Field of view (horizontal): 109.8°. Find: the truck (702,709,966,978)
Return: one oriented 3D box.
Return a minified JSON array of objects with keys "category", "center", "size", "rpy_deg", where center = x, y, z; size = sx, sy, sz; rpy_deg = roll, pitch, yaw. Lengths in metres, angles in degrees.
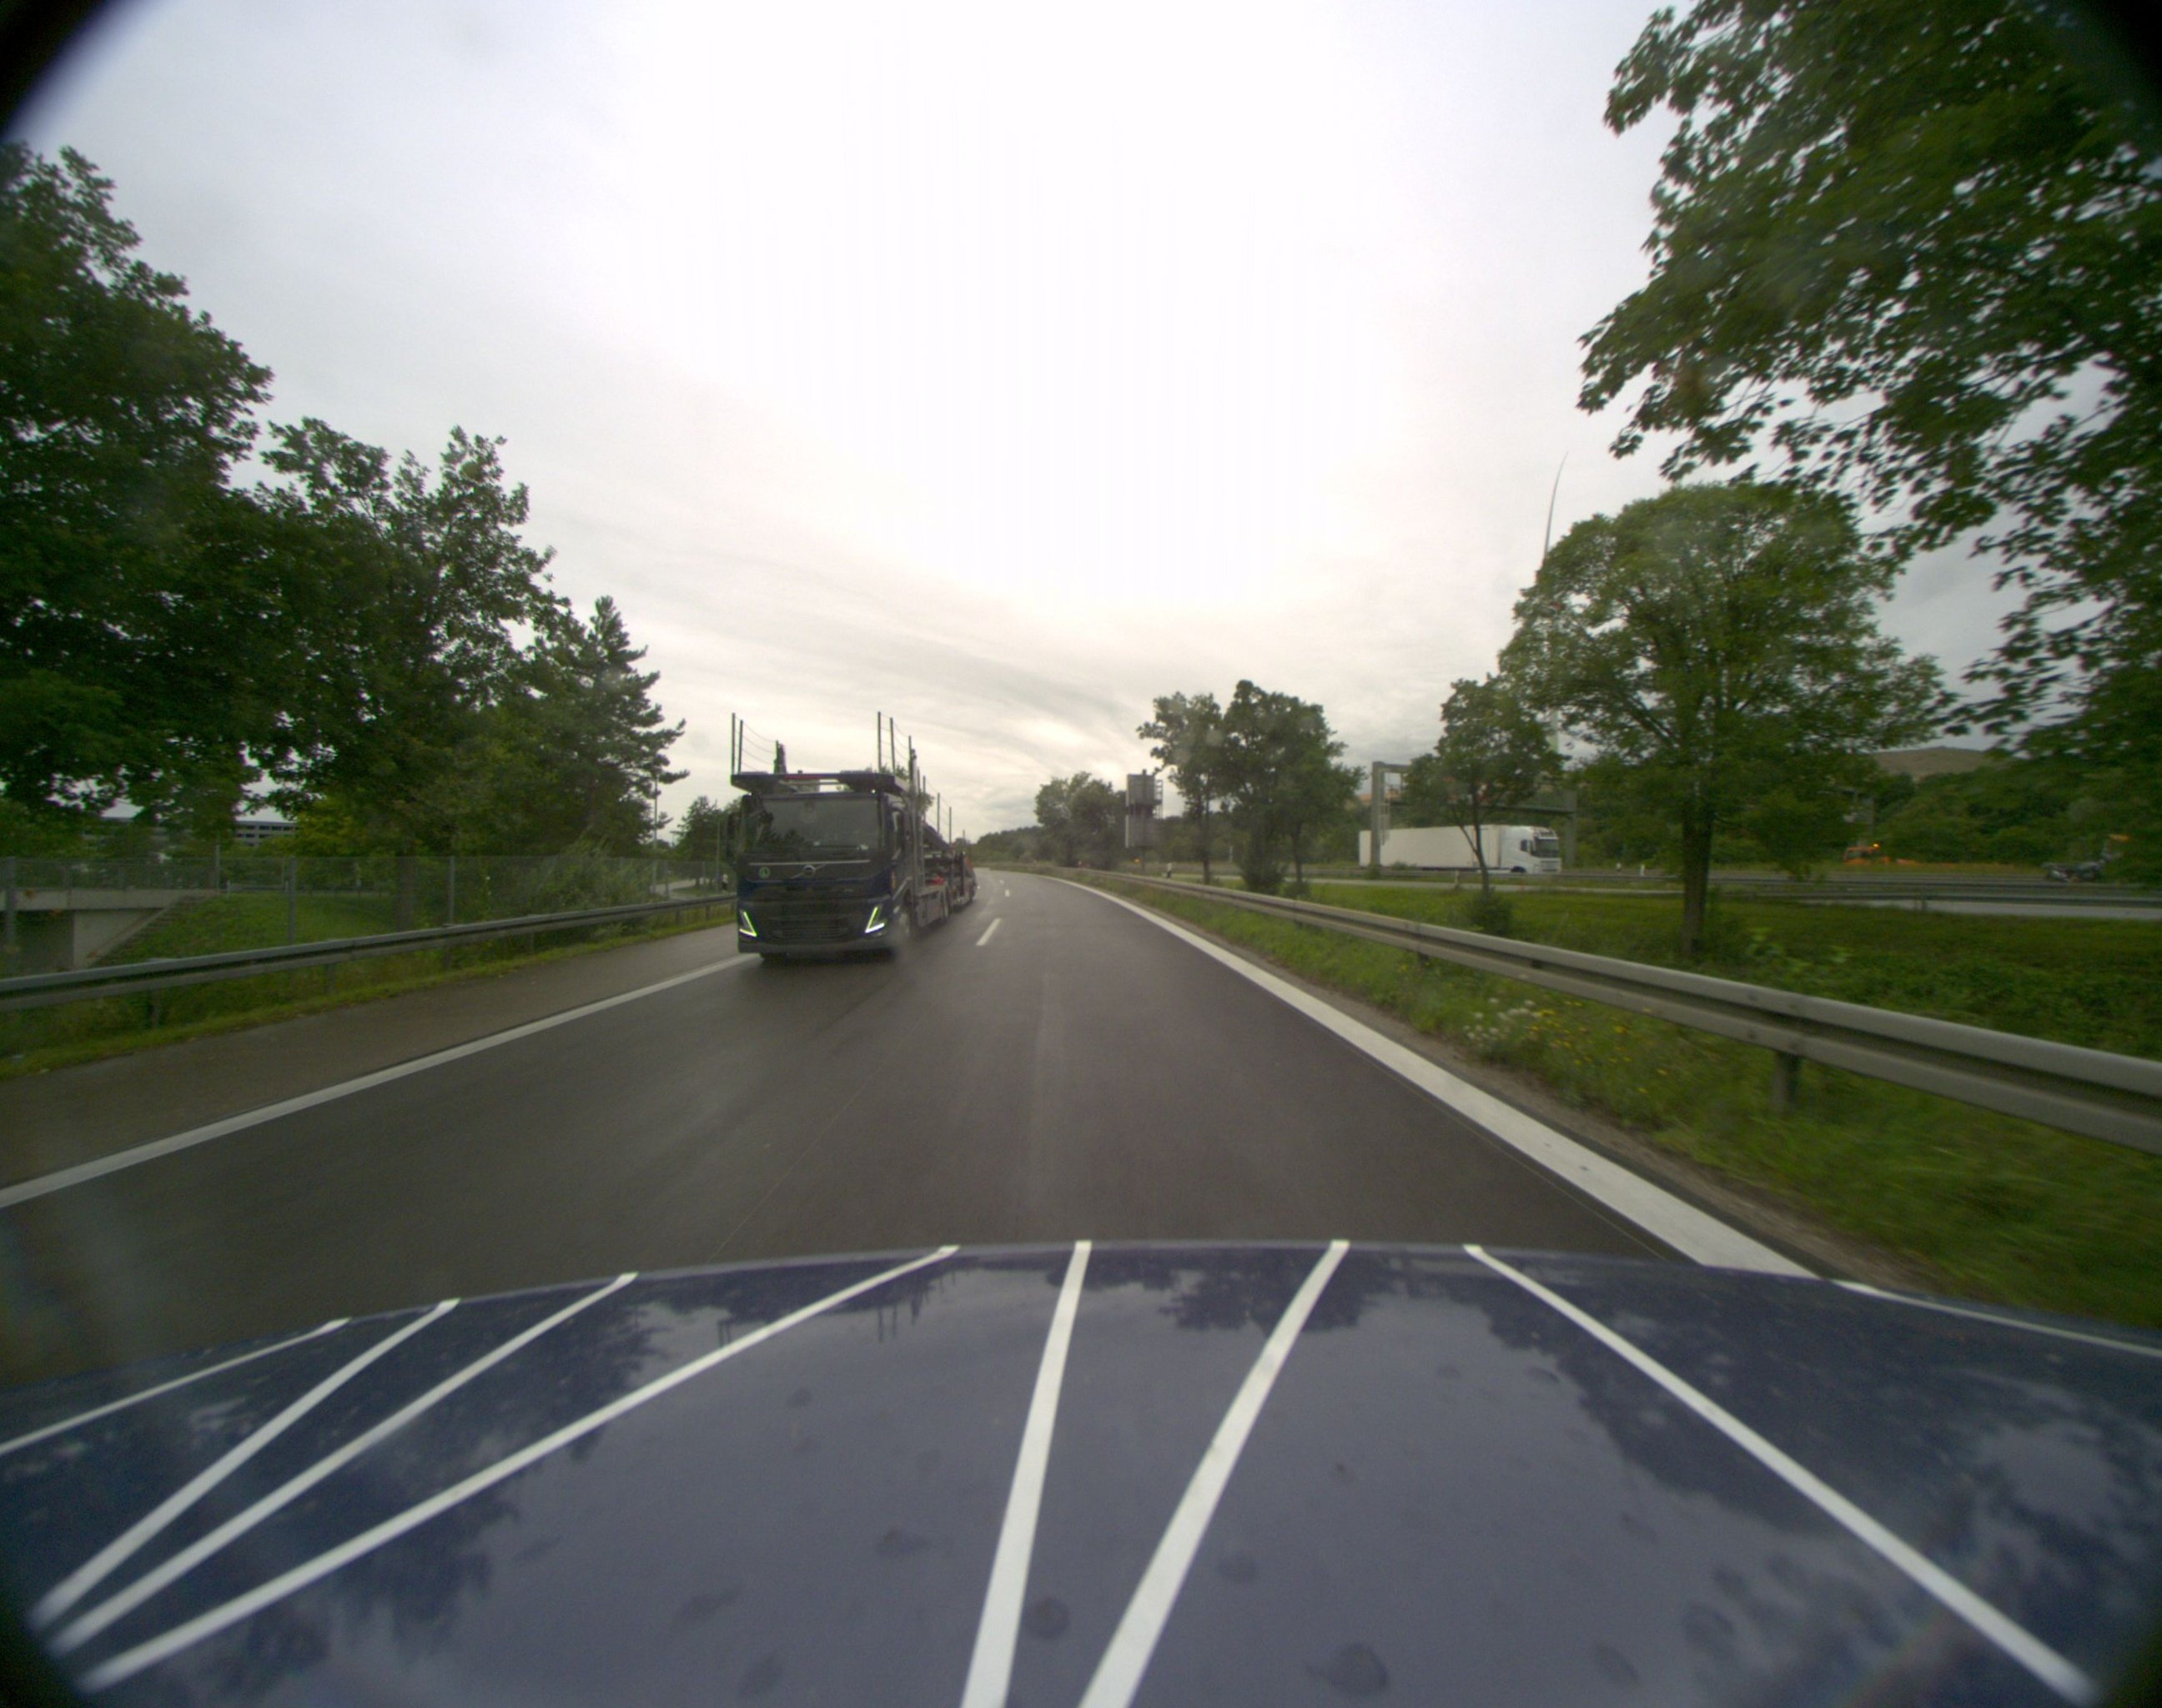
[{"category":"truck","center":[-4.412,-0.156,16.046],"size":[2.746,3.944,9.126],"rpy_deg":[-3,0,-2]}]

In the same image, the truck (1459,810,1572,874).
[{"category":"truck","center":[29.925,-0.771,52.634],"size":[2.778,4.111,6.433],"rpy_deg":[-1,0,-22]}]

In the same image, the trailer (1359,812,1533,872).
[{"category":"trailer","center":[27.500,-0.830,58.666],"size":[2.778,4.111,13.925],"rpy_deg":[-1,0,-22]}]

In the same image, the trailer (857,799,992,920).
[{"category":"trailer","center":[-4.856,0.132,25.836],"size":[2.785,3.265,10.404],"rpy_deg":[-1,0,-2]}]

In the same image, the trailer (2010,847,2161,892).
[{"category":"trailer","center":[39.702,0.546,29.871],"size":[1.890,1.617,3.604],"rpy_deg":[-1,1,-22]}]

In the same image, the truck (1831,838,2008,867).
[{"category":"truck","center":[62.359,-0.151,56.924],"size":[2.002,2.002,8.798],"rpy_deg":[-1,1,-19]}]

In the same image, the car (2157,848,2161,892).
[{"category":"car","center":[41.247,0.585,25.993],"size":[1.890,1.617,4.797],"rpy_deg":[-1,1,-22]}]
